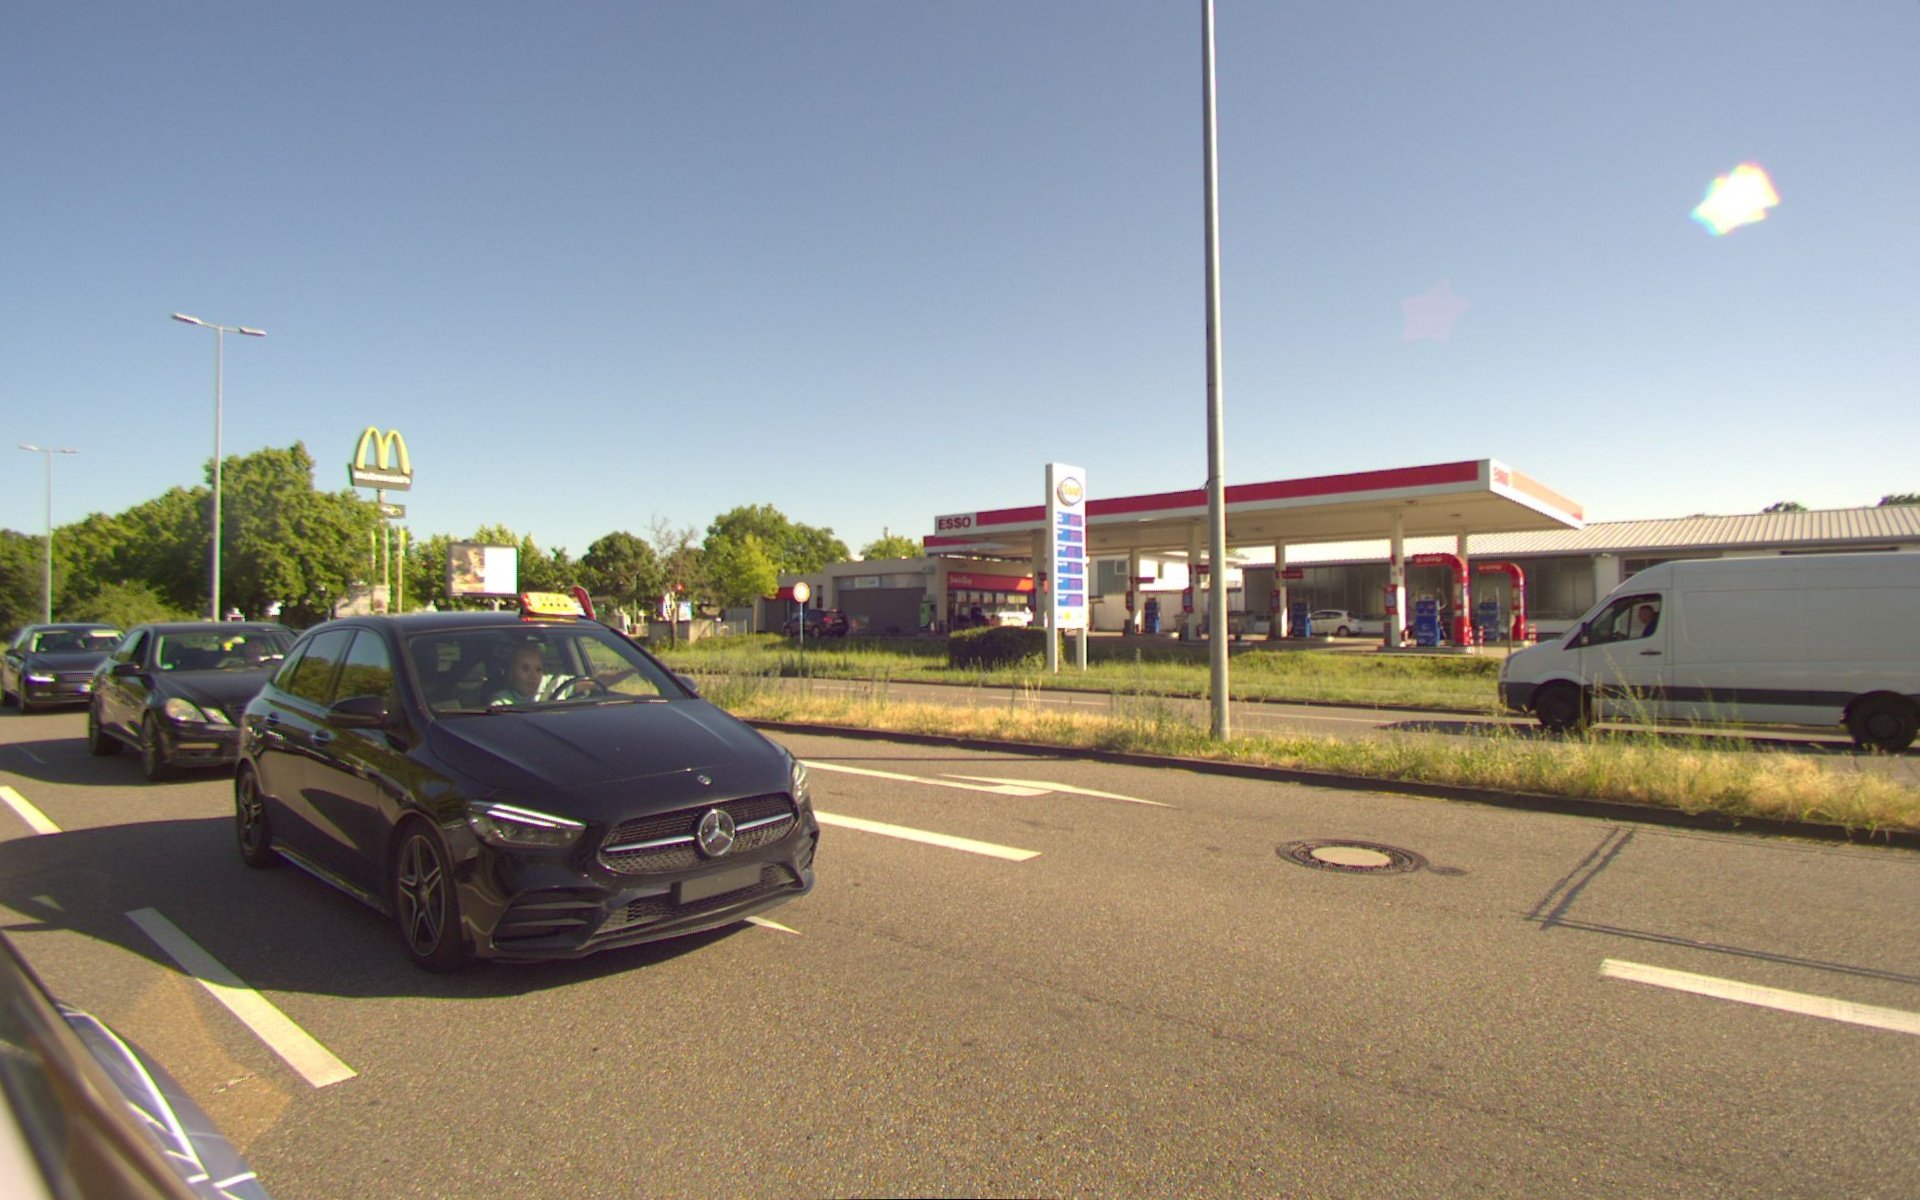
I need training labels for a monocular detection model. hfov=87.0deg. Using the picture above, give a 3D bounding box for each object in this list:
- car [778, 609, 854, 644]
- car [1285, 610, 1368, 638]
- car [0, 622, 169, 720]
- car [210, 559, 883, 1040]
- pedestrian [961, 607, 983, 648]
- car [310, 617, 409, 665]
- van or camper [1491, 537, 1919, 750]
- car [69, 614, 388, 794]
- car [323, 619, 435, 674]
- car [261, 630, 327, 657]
[{"bbox_3d":[-7.857,1.442,55.063,4.117,1.783,1.972,-2,-1,43],"label":"car"},{"bbox_3d":[19.844,1.307,54.874,3.844,1.450,1.730,-2,-2,39],"label":"car"},{"bbox_3d":[-15.547,1.153,17.762,4.401,1.492,1.838,-2,-2,41],"label":"car"},{"bbox_3d":[-2.509,0.734,5.543,4.187,1.638,1.780,-2,-2,42],"label":"car"},{"bbox_3d":[0.600,1.350,50.629,0.840,2.029,0.694,-2,-2,41],"label":"pedestrian"},{"bbox_3d":[-26.562,1.805,44.728,5.018,2.029,1.975,-1,-3,37],"label":"car"},{"bbox_3d":[11.217,0.625,14.681,5.952,2.671,1.973,-1,-4,40],"label":"van or camper"},{"bbox_3d":[-7.947,0.949,10.832,4.401,1.535,1.838,-2,-2,41],"label":"car"},{"bbox_3d":[-19.321,1.509,33.613,4.433,1.703,1.860,-2,-2,41],"label":"car"},{"bbox_3d":[-37.901,2.456,57.522,4.604,1.457,1.884,-2,-4,41],"label":"car"}]
